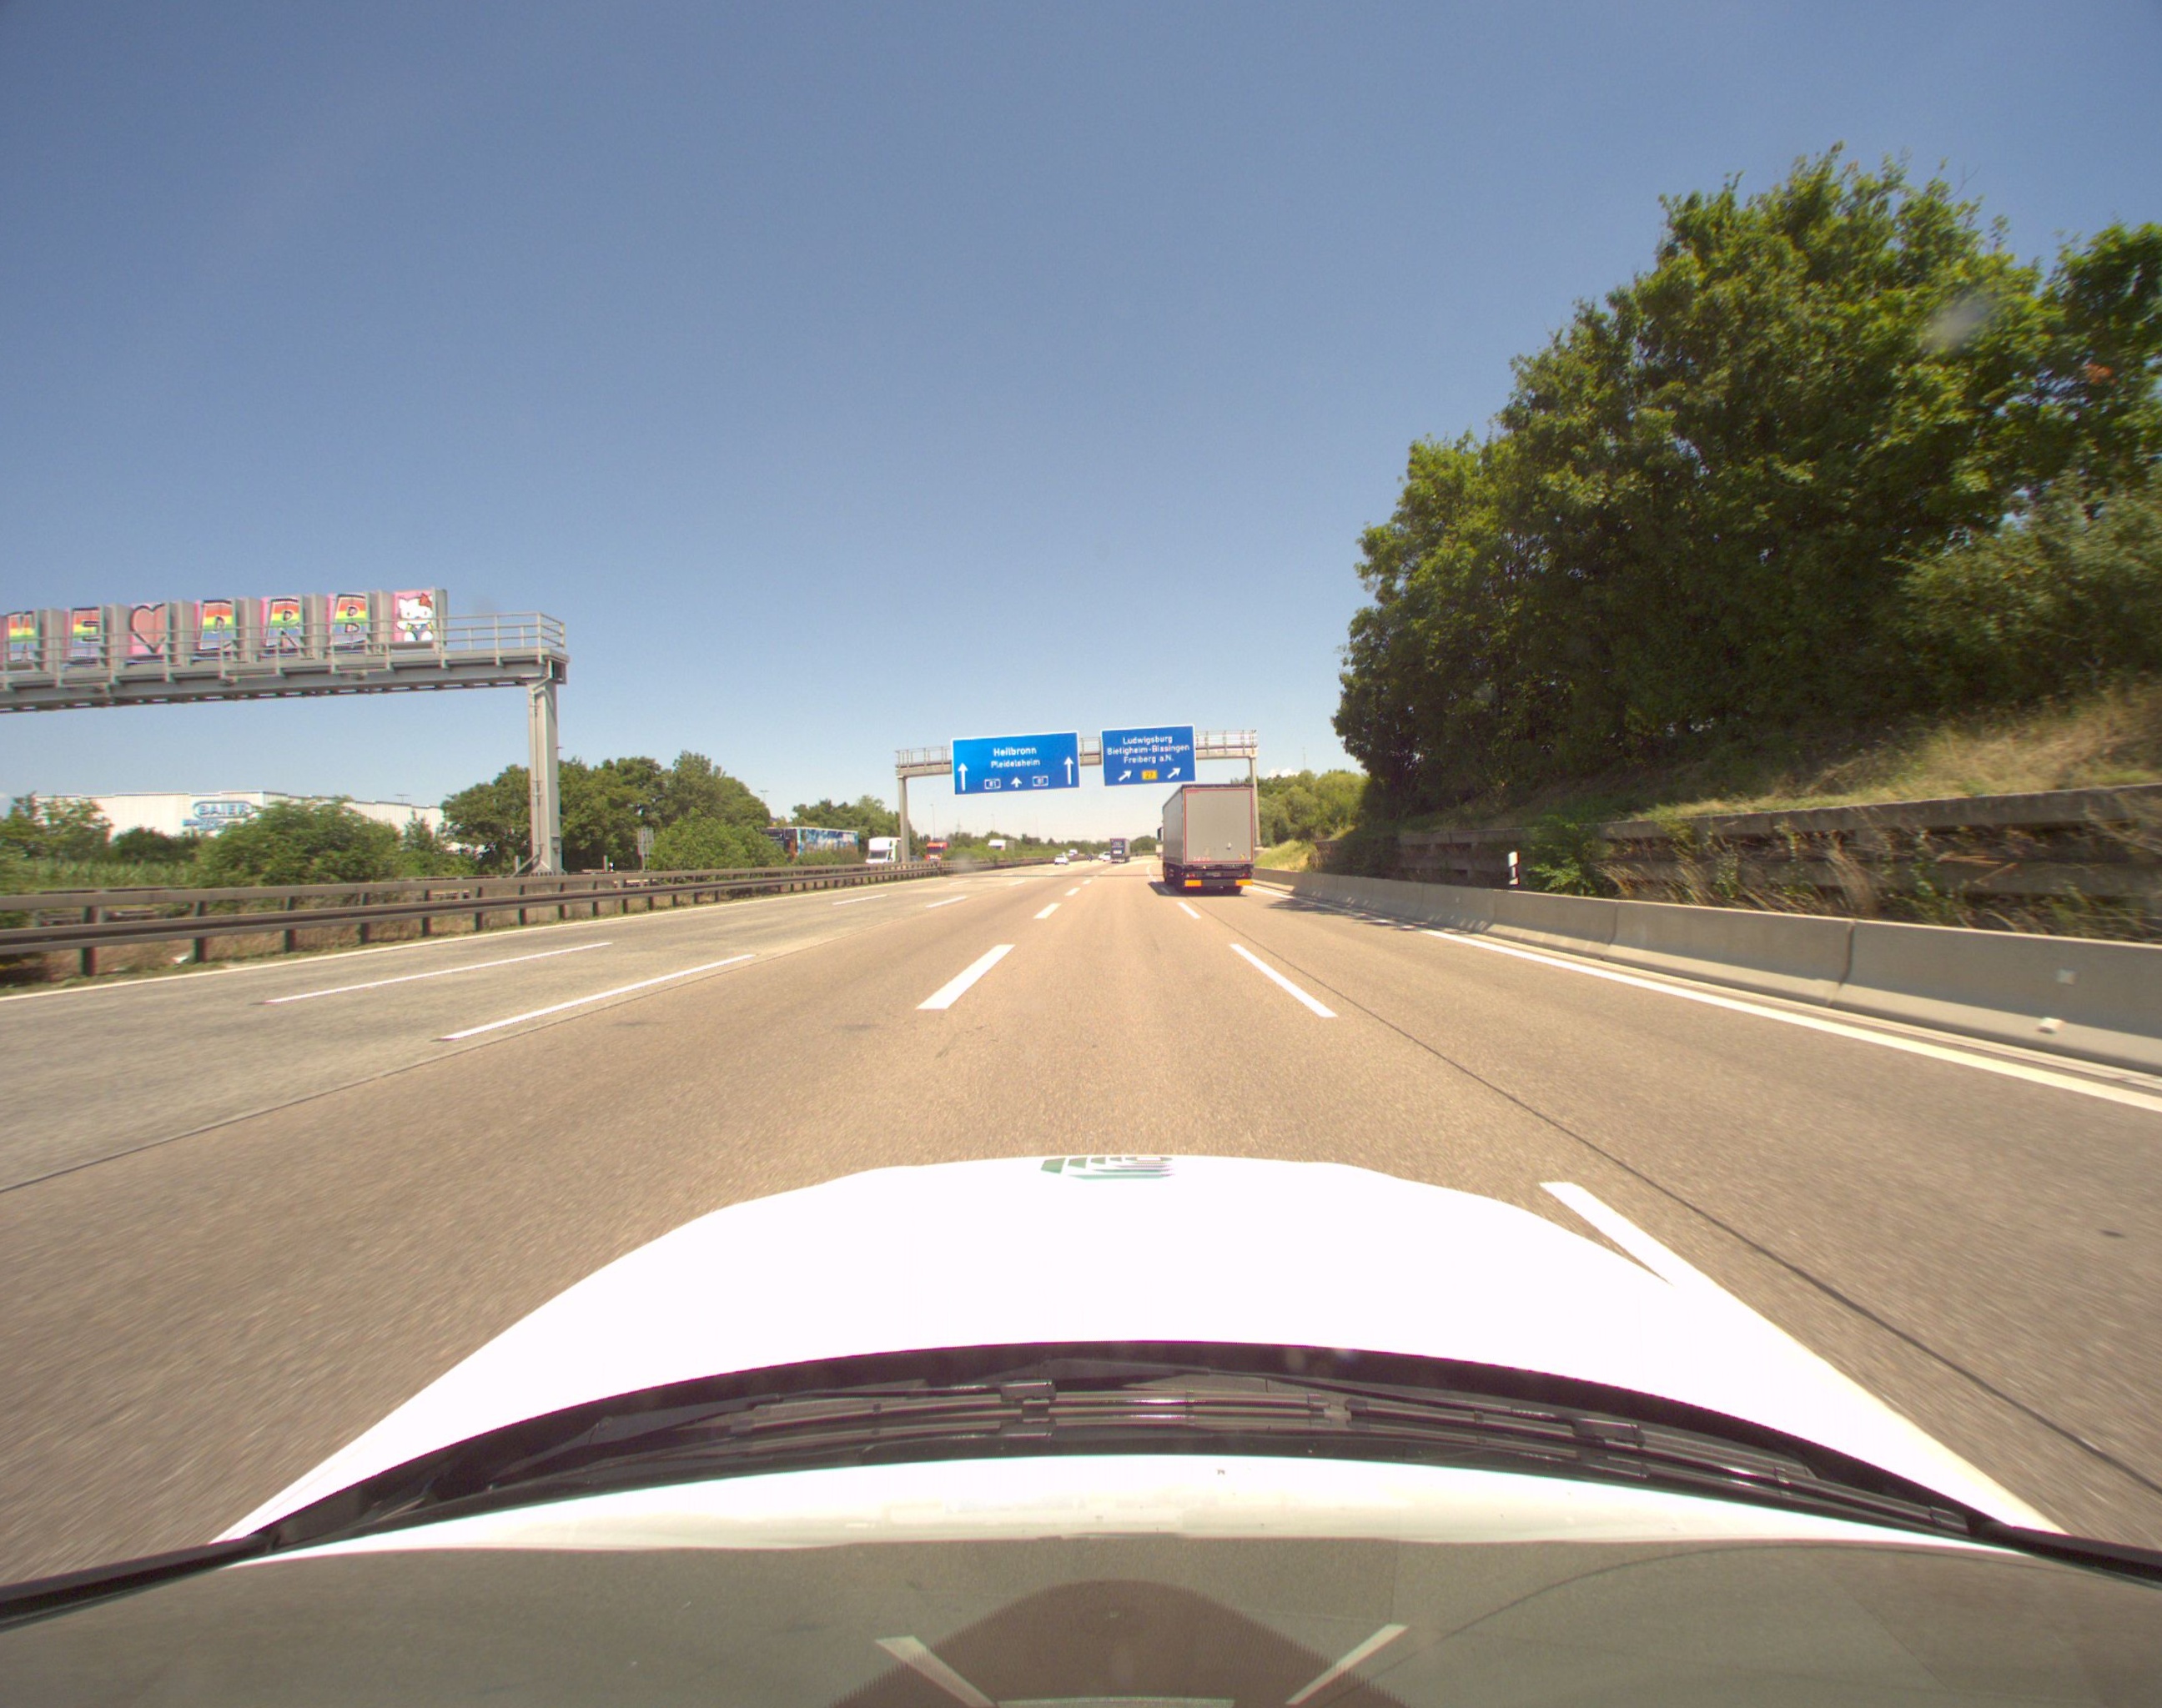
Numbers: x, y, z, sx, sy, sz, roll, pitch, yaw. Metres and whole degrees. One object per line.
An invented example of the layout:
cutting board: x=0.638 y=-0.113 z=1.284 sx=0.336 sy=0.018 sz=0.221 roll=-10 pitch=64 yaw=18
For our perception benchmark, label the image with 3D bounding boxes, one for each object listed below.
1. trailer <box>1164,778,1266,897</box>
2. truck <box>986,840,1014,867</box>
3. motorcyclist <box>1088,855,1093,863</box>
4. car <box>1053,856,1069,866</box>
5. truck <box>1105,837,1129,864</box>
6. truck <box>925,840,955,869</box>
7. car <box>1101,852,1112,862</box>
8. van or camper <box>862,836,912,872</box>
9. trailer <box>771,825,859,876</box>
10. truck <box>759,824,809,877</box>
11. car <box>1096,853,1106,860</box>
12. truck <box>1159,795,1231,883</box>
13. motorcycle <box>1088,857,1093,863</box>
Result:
trailer: x=5.264 y=-0.668 z=34.324 sx=2.915 sy=4.015 sz=12.050 roll=-2 pitch=1 yaw=3
truck: x=-13.386 y=-0.082 z=135.023 sx=2.740 sy=4.207 sz=10.416 roll=-1 pitch=0 yaw=5
motorcyclist: x=1.803 y=0.950 z=158.070 sx=0.889 sy=1.597 sz=1.301 roll=-2 pitch=1 yaw=4
car: x=-2.865 y=1.010 z=119.195 sx=1.773 sy=1.440 sz=4.675 roll=-1 pitch=-1 yaw=5
truck: x=6.244 y=-0.620 z=138.615 sx=3.731 sy=4.270 sz=14.509 roll=-1 pitch=0 yaw=4
truck: x=-19.332 y=0.074 z=112.019 sx=2.740 sy=3.793 sz=5.109 roll=-1 pitch=0 yaw=4
car: x=5.035 y=0.537 z=162.526 sx=1.922 sy=1.851 sz=4.698 roll=-2 pitch=0 yaw=4
van or camper: x=-18.371 y=0.011 z=77.768 sx=2.464 sy=3.220 sz=7.829 roll=-1 pitch=0 yaw=3
trailer: x=-22.458 y=-0.263 z=69.925 sx=1.985 sy=3.922 sz=14.017 roll=-1 pitch=0 yaw=4
truck: x=-22.937 y=-0.249 z=63.138 sx=1.984 sy=3.896 sz=4.346 roll=-1 pitch=0 yaw=4
car: x=4.709 y=0.567 z=187.807 sx=1.867 sy=1.441 sz=5.133 roll=-1 pitch=-2 yaw=5
truck: x=5.686 y=-0.774 z=41.872 sx=2.915 sy=4.015 sz=7.590 roll=-2 pitch=1 yaw=3
motorcycle: x=1.822 y=1.219 z=158.112 sx=0.909 sy=1.089 sz=2.852 roll=-2 pitch=0 yaw=3
